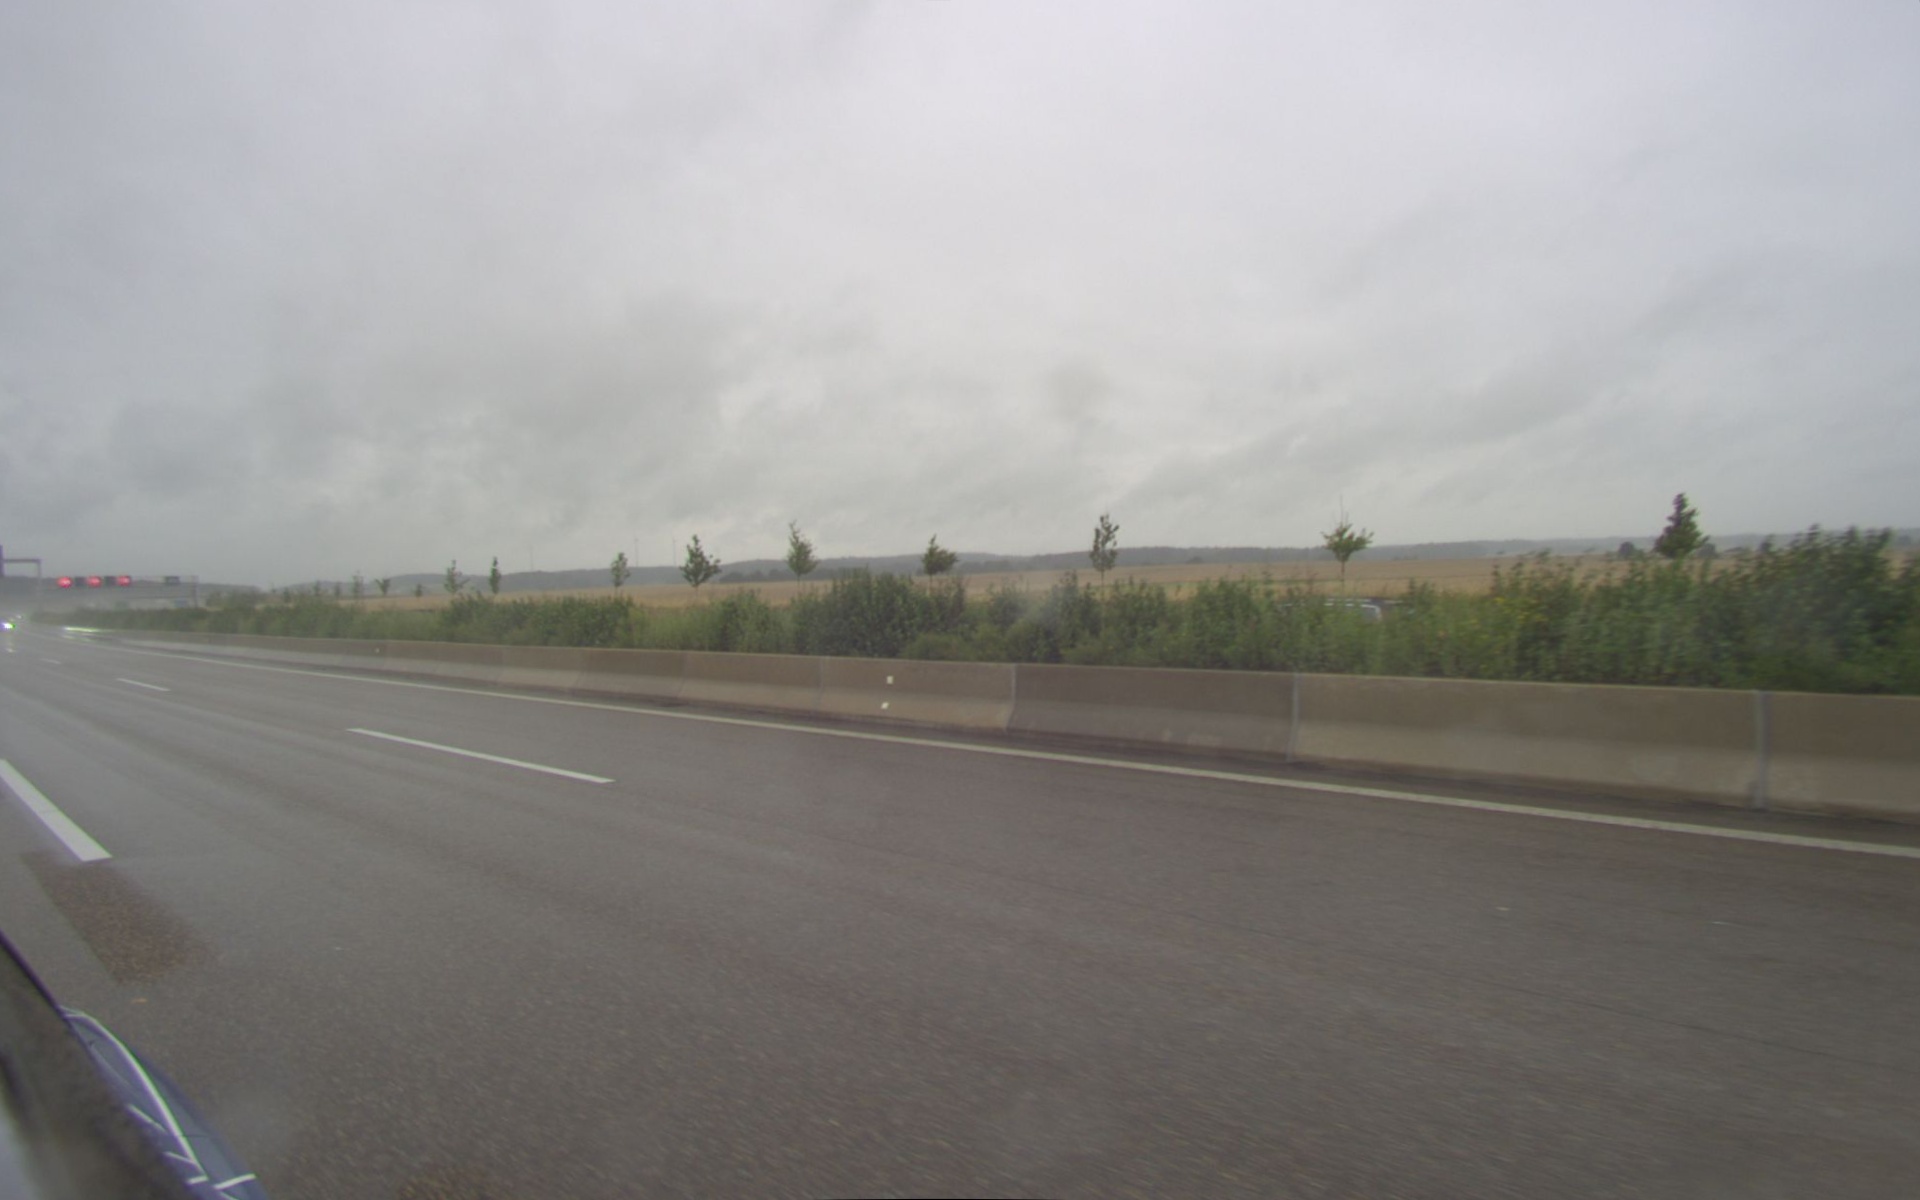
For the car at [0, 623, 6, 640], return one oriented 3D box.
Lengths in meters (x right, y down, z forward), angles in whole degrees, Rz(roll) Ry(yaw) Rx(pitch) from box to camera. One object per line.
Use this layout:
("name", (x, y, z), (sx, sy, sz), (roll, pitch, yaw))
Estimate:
("car", (-88.759, 2.922, 92.910), (1.677, 1.563, 3.736), (-1, 0, -44))
